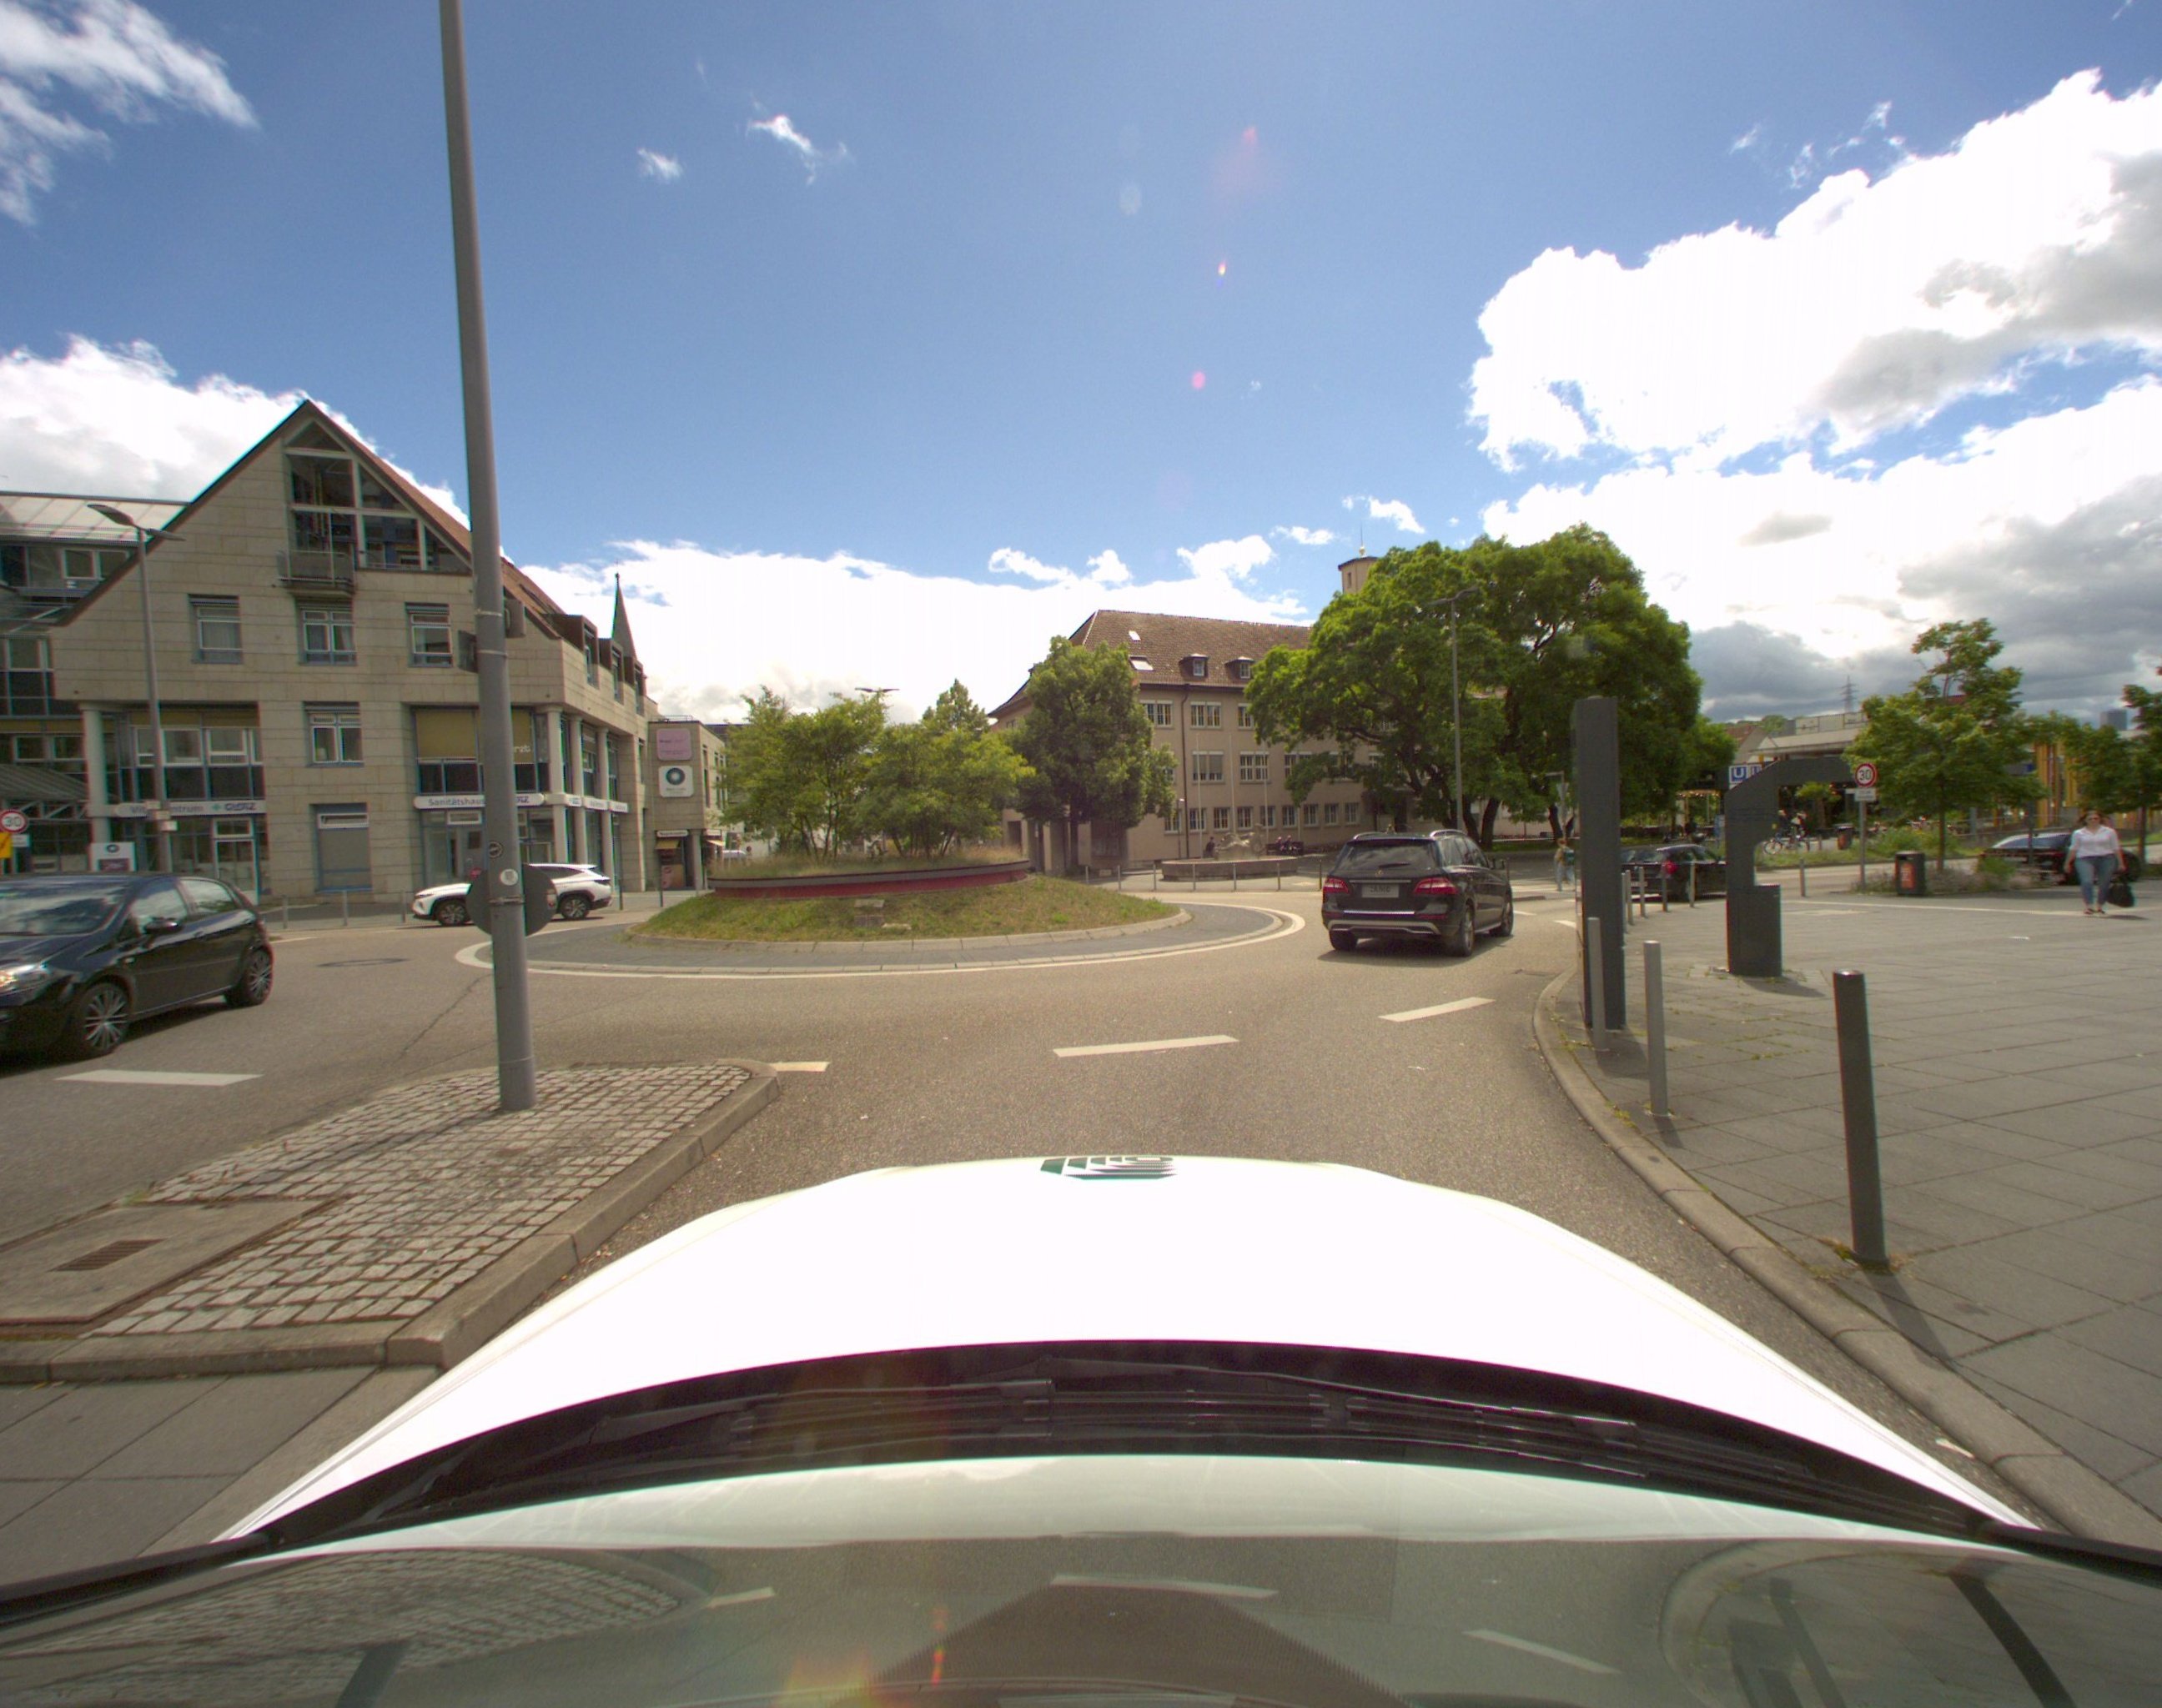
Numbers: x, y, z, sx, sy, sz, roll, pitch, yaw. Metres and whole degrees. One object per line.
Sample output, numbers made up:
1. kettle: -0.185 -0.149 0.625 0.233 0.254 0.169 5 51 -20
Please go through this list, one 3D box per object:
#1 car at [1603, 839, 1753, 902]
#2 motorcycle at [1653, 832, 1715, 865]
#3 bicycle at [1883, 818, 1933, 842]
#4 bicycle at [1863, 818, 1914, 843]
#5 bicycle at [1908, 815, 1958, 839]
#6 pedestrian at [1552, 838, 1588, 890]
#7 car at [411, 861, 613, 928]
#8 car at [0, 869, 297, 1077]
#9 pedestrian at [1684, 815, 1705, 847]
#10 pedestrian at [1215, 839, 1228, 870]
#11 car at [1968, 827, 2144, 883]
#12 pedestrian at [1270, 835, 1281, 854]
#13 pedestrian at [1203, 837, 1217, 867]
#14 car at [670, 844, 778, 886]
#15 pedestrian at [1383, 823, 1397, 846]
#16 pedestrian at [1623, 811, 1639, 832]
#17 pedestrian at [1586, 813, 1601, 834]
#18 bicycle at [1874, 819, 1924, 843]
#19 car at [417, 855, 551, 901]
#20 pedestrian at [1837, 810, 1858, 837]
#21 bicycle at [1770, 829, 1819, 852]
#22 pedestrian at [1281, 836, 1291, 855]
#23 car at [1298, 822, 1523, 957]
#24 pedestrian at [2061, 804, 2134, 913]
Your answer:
1. car: 15.119 0.371 20.591 3.847 1.383 1.598 -2 0 -30
2. motorcycle: 25.207 -0.254 34.080 0.583 1.289 2.126 -4 3 -18
3. bicycle: 39.086 -1.133 38.492 0.578 1.091 1.562 -2 1 -20
4. bicycle: 37.622 -1.083 37.962 0.578 1.091 1.562 -2 1 -20
5. bicycle: 40.872 -1.303 39.070 0.578 1.091 1.562 -2 1 -20
6. pedestrian: 14.880 0.288 24.811 0.550 1.514 0.786 -3 2 -8
7. car: -15.584 1.051 22.554 4.393 1.581 1.844 -2 -1 -34
8. car: -8.941 0.874 7.205 1.707 1.419 4.083 -1 0 -26
9. pedestrian: 31.128 -1.176 41.320 0.616 1.577 0.578 -2 0 -22
10. pedestrian: 7.372 0.024 42.826 0.572 1.608 0.437 -1 4 -6
11. car: 27.788 0.018 23.221 4.375 1.406 1.850 -2 0 -20
12. pedestrian: 12.331 -0.585 51.552 0.482 1.162 0.584 -1 0 35
13. pedestrian: 6.895 -0.102 43.462 0.636 1.523 0.576 -1 4 -6
14. car: -23.612 0.708 54.009 6.325 2.560 2.184 0 -3 -31
15. pedestrian: 20.241 -1.250 53.338 0.694 1.492 0.817 -1 0 7
16. pedestrian: 42.499 -2.522 62.911 0.637 1.627 0.782 -2 0 -22
17. pedestrian: 40.437 -2.398 64.300 0.789 1.577 0.632 -2 0 -21
18. bicycle: 38.360 -1.079 38.188 0.539 1.069 1.562 -2 1 -20
19. car: -24.676 0.989 33.758 4.233 1.576 1.852 -4 0 6
20. pedestrian: 43.167 -1.731 45.865 0.614 1.463 0.580 -2 0 -13
21. bicycle: 31.147 -0.578 35.592 0.499 0.997 1.609 -2 1 -14
22. pedestrian: 12.819 -0.529 50.839 0.482 1.182 0.584 -1 0 26
23. car: 5.329 0.418 12.784 2.008 1.727 4.462 -2 0 39
24. pedestrian: 16.936 0.070 13.579 0.780 1.745 0.699 -2 0 -38
